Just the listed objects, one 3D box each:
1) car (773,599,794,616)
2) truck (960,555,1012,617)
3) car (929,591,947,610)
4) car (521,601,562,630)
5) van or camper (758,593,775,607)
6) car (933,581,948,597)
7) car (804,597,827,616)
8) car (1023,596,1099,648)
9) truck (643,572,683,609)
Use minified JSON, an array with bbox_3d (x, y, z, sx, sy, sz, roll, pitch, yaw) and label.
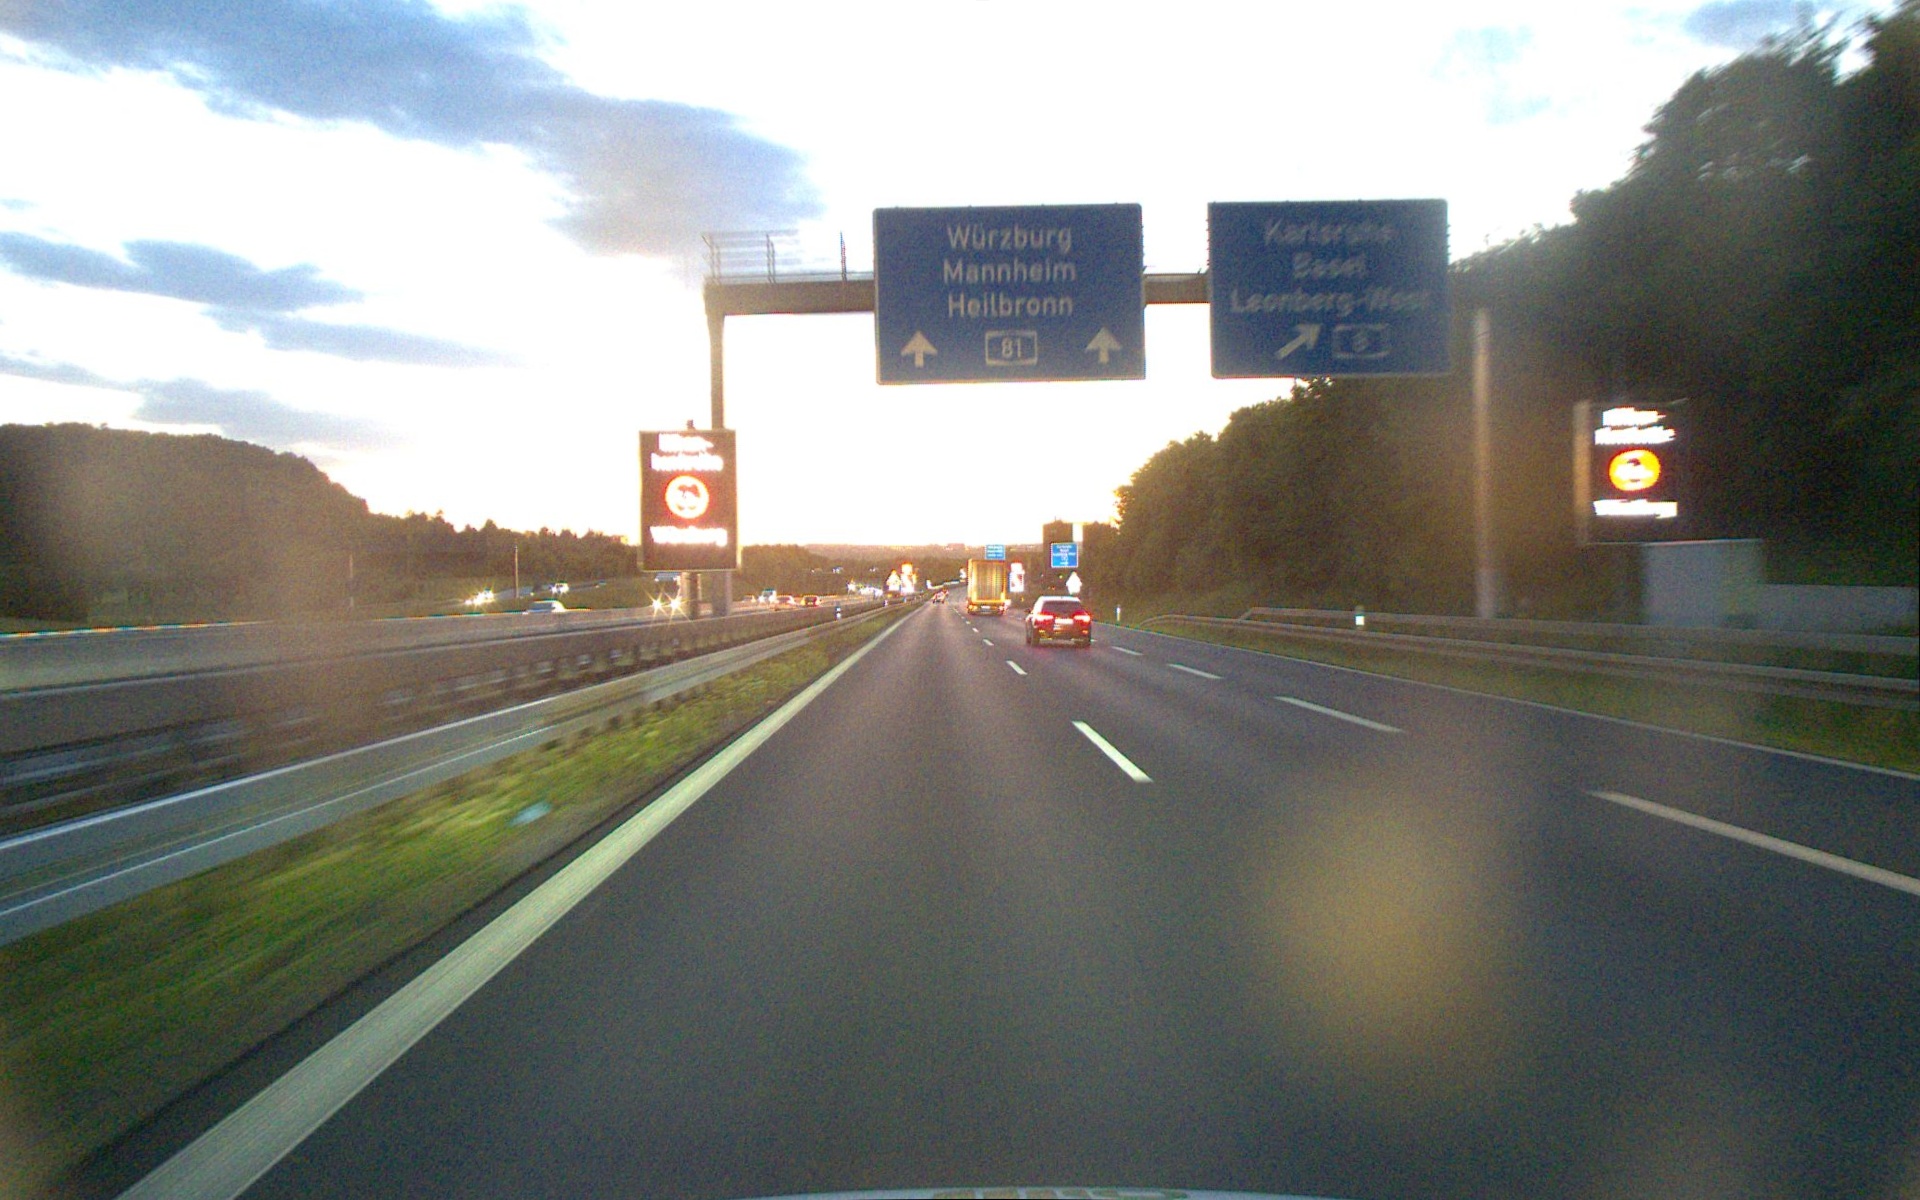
[{"bbox_3d":[-17.008,0.743,159.226,1.604,1.573,3.394,-2,0,-1],"label":"car"},{"bbox_3d":[1.883,-1.007,124.401,3.439,4.376,9.888,-1,0,-1],"label":"truck"},{"bbox_3d":[-2.438,0.041,181.472,1.953,2.049,3.999,-2,0,-1],"label":"car"},{"bbox_3d":[-25.959,0.967,102.654,1.648,1.736,3.751,0,0,-1],"label":"car"},{"bbox_3d":[-27.010,0.031,231.086,1.852,1.940,5.538,0,0,-2],"label":"van or camper"},{"bbox_3d":[-2.610,-1.444,219.701,1.953,2.049,3.999,-2,0,-1],"label":"car"},{"bbox_3d":[-12.759,0.595,146.393,1.678,1.634,3.721,-2,0,-1],"label":"car"},{"bbox_3d":[2.997,0.644,49.805,1.876,1.467,3.999,-2,0,-2],"label":"car"},{"bbox_3d":[-30.694,-0.930,171.161,3.243,3.682,5.496,-2,0,-1],"label":"truck"}]
